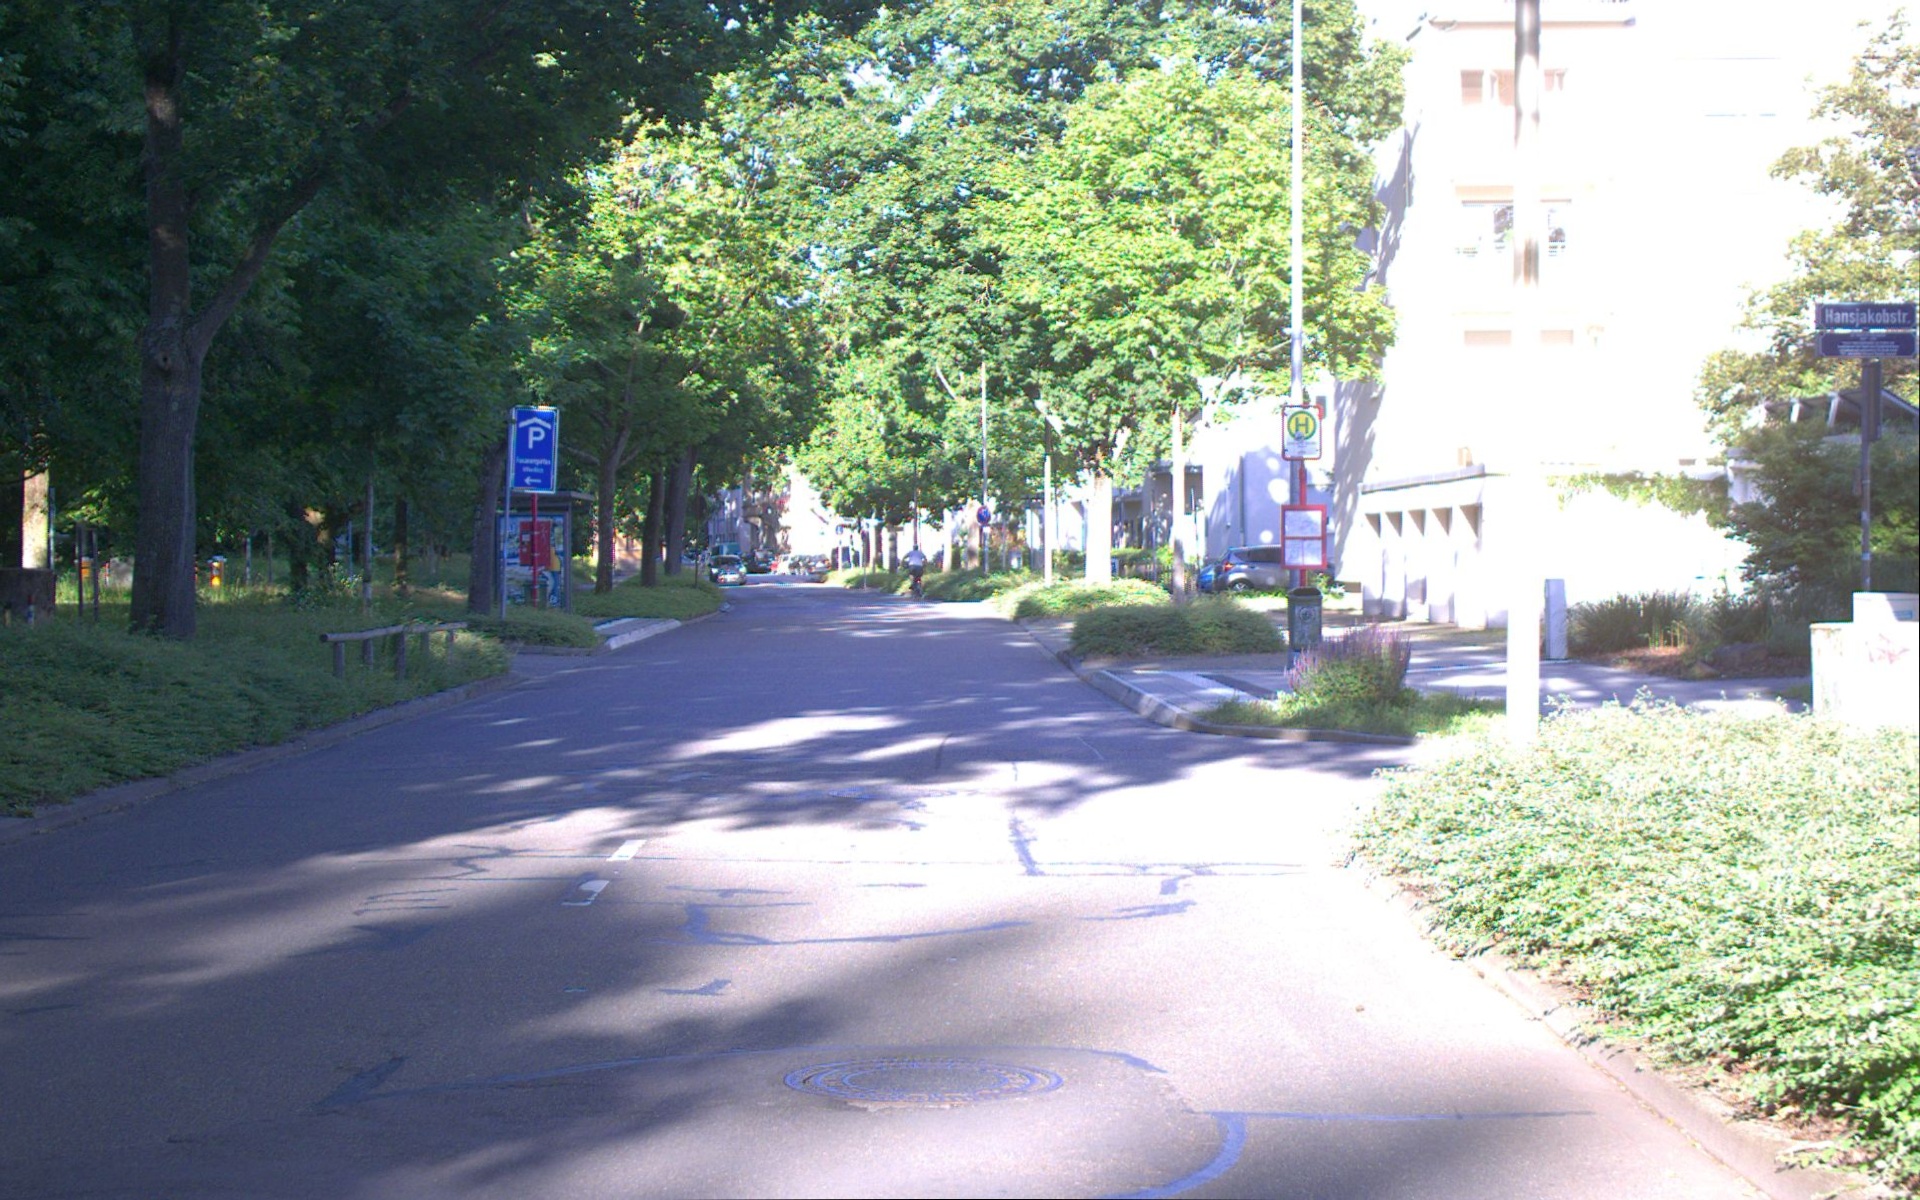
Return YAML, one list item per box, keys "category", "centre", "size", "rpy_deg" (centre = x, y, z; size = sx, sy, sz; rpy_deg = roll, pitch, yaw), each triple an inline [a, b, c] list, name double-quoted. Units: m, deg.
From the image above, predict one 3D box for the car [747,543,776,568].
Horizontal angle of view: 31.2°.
- category: "car"
  centre: [-15.051, -3.384, 261.009]
  size: [1.811, 1.919, 4.001]
  rpy_deg: [1, 1, -8]

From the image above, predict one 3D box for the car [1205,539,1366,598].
- category: "car"
  centre: [8.674, -0.836, 91.677]
  size: [4.040, 1.509, 1.727]
  rpy_deg: [1, -1, -4]

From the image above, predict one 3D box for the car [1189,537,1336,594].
- category: "car"
  centre: [8.736, -1.003, 99.514]
  size: [3.986, 1.576, 1.810]
  rpy_deg: [0, 2, -5]

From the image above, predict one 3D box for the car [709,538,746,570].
- category: "car"
  centre: [-11.990, -2.358, 177.125]
  size: [1.844, 1.573, 4.336]
  rpy_deg: [-2, 1, -4]

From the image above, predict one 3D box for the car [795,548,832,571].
- category: "car"
  centre: [-9.942, -2.746, 232.600]
  size: [1.811, 1.496, 4.001]
  rpy_deg: [-1, 1, -12]
